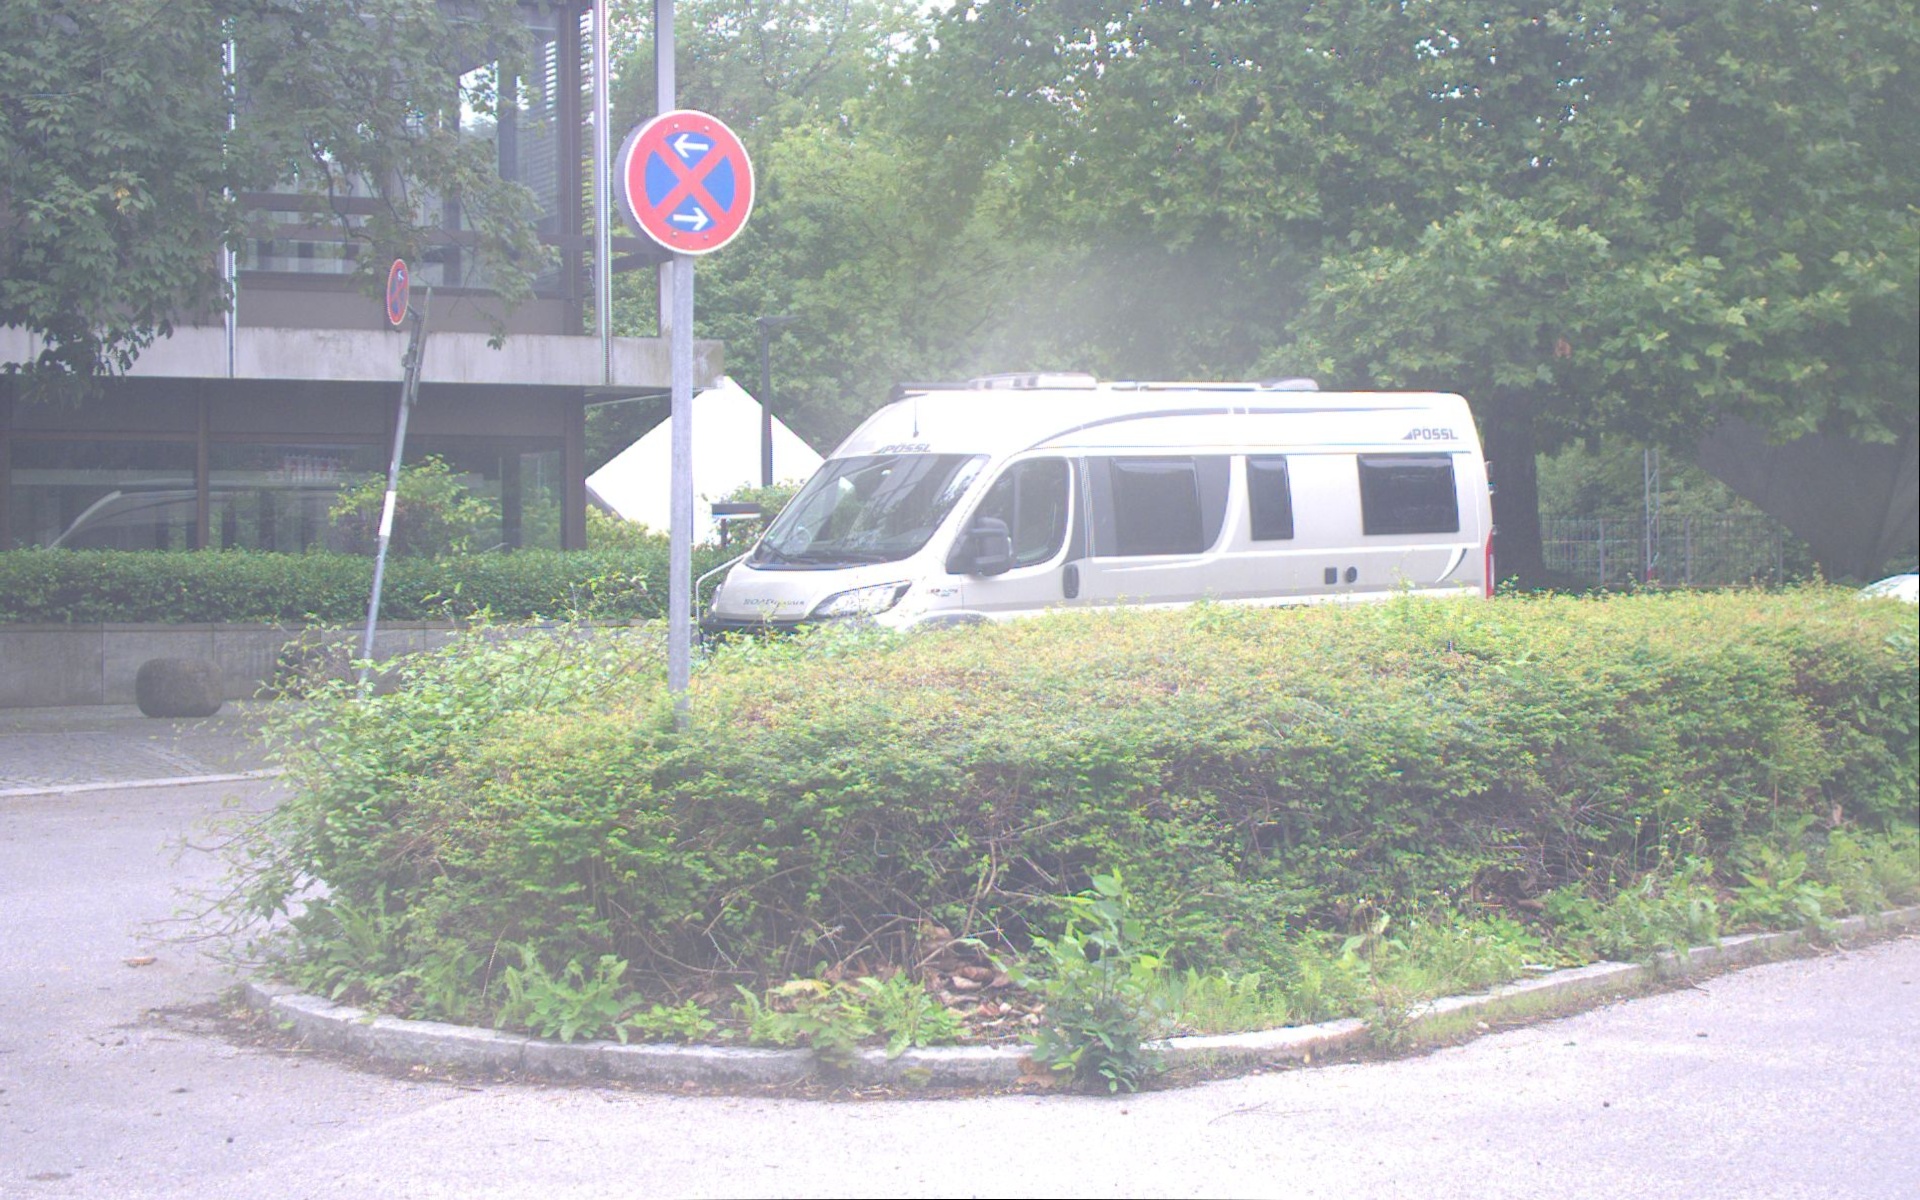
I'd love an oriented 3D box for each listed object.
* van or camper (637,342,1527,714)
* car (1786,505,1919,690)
[{"bbox_3d":[1.017,-0.482,23.966,6.401,2.273,2.254,-1,1,-41],"label":"van or camper"},{"bbox_3d":[9.305,-0.056,29.428,3.986,1.503,2.000,-1,1,-26],"label":"car"}]
